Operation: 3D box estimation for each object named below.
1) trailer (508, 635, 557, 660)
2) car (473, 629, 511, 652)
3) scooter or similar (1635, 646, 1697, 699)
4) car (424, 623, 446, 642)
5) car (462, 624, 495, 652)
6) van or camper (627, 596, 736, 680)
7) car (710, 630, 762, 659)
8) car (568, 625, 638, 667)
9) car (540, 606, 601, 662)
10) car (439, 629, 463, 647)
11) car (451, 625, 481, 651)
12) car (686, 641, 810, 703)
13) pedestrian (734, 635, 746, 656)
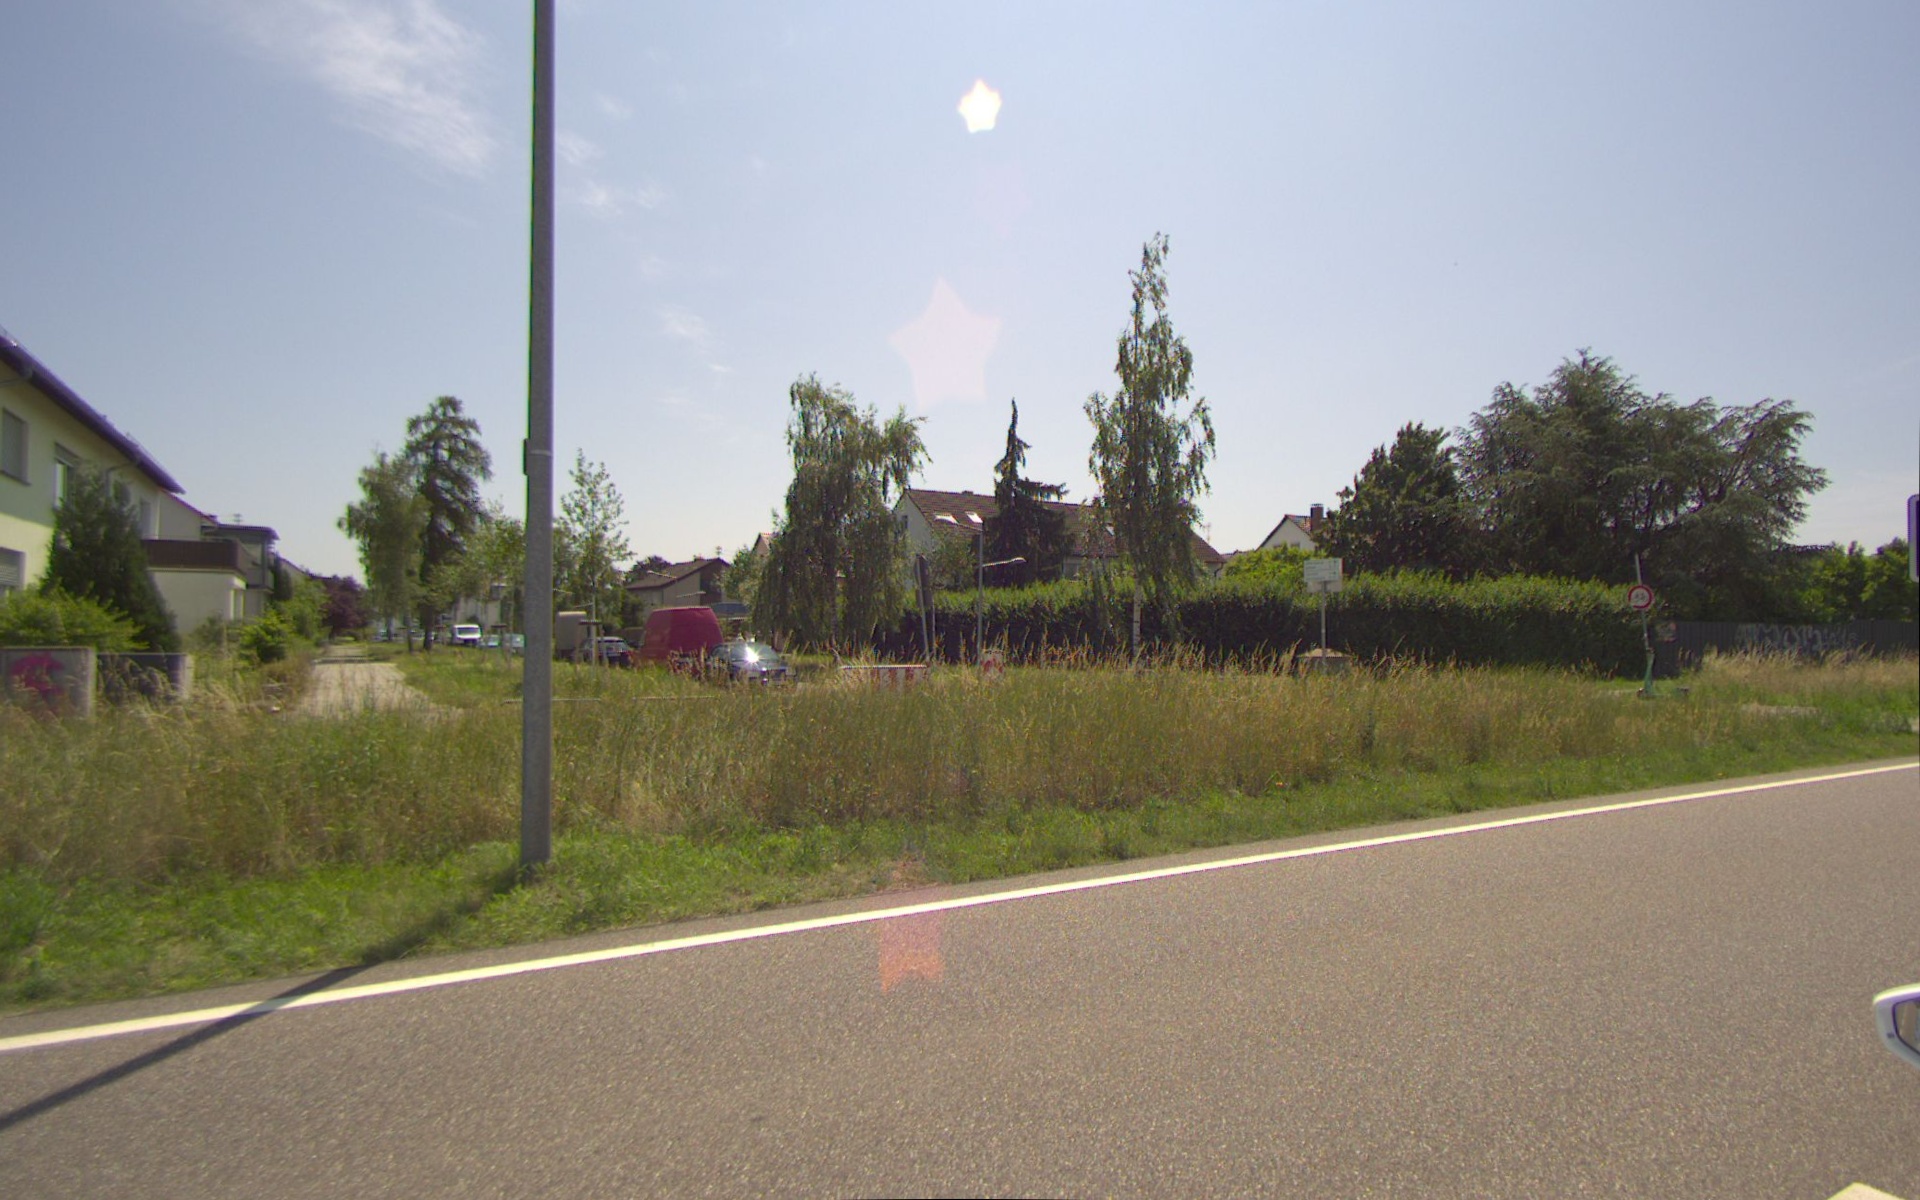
[{"bbox_3d":[-24.163,2.665,56.677,1.848,1.241,4.448,1,-1,-32],"label":"trailer"},{"bbox_3d":[-32.663,2.781,70.052,1.848,1.463,4.449,1,-1,-32],"label":"car"},{"bbox_3d":[16.032,1.634,22.824,0.643,1.143,1.010,1,-2,-38],"label":"scooter or similar"},{"bbox_3d":[-59.882,3.719,114.559,1.848,1.996,4.449,1,-1,-32],"label":"car"},{"bbox_3d":[-37.075,2.912,77.280,1.848,1.996,4.449,1,-1,-32],"label":"car"},{"bbox_3d":[-8.787,1.121,31.399,1.978,2.420,4.727,1,-1,-32],"label":"van or camper"},{"bbox_3d":[-11.365,2.228,50.794,1.553,1.355,3.276,1,-1,-32],"label":"car"},{"bbox_3d":[-14.389,1.810,40.390,1.848,1.539,3.965,1,-1,-32],"label":"car"},{"bbox_3d":[-17.765,1.507,45.753,1.848,2.432,3.965,1,-1,-32],"label":"car"},{"bbox_3d":[-51.416,3.839,101.426,1.848,1.722,4.449,1,-1,-32],"label":"car"},{"bbox_3d":[-42.224,3.224,85.818,1.848,1.996,4.449,1,-1,-32],"label":"car"},{"bbox_3d":[-5.731,1.855,26.784,1.978,1.372,3.964,1,-1,-32],"label":"car"},{"bbox_3d":[-13.986,2.901,63.842,0.535,1.315,0.563,1,-2,-32],"label":"pedestrian"}]
